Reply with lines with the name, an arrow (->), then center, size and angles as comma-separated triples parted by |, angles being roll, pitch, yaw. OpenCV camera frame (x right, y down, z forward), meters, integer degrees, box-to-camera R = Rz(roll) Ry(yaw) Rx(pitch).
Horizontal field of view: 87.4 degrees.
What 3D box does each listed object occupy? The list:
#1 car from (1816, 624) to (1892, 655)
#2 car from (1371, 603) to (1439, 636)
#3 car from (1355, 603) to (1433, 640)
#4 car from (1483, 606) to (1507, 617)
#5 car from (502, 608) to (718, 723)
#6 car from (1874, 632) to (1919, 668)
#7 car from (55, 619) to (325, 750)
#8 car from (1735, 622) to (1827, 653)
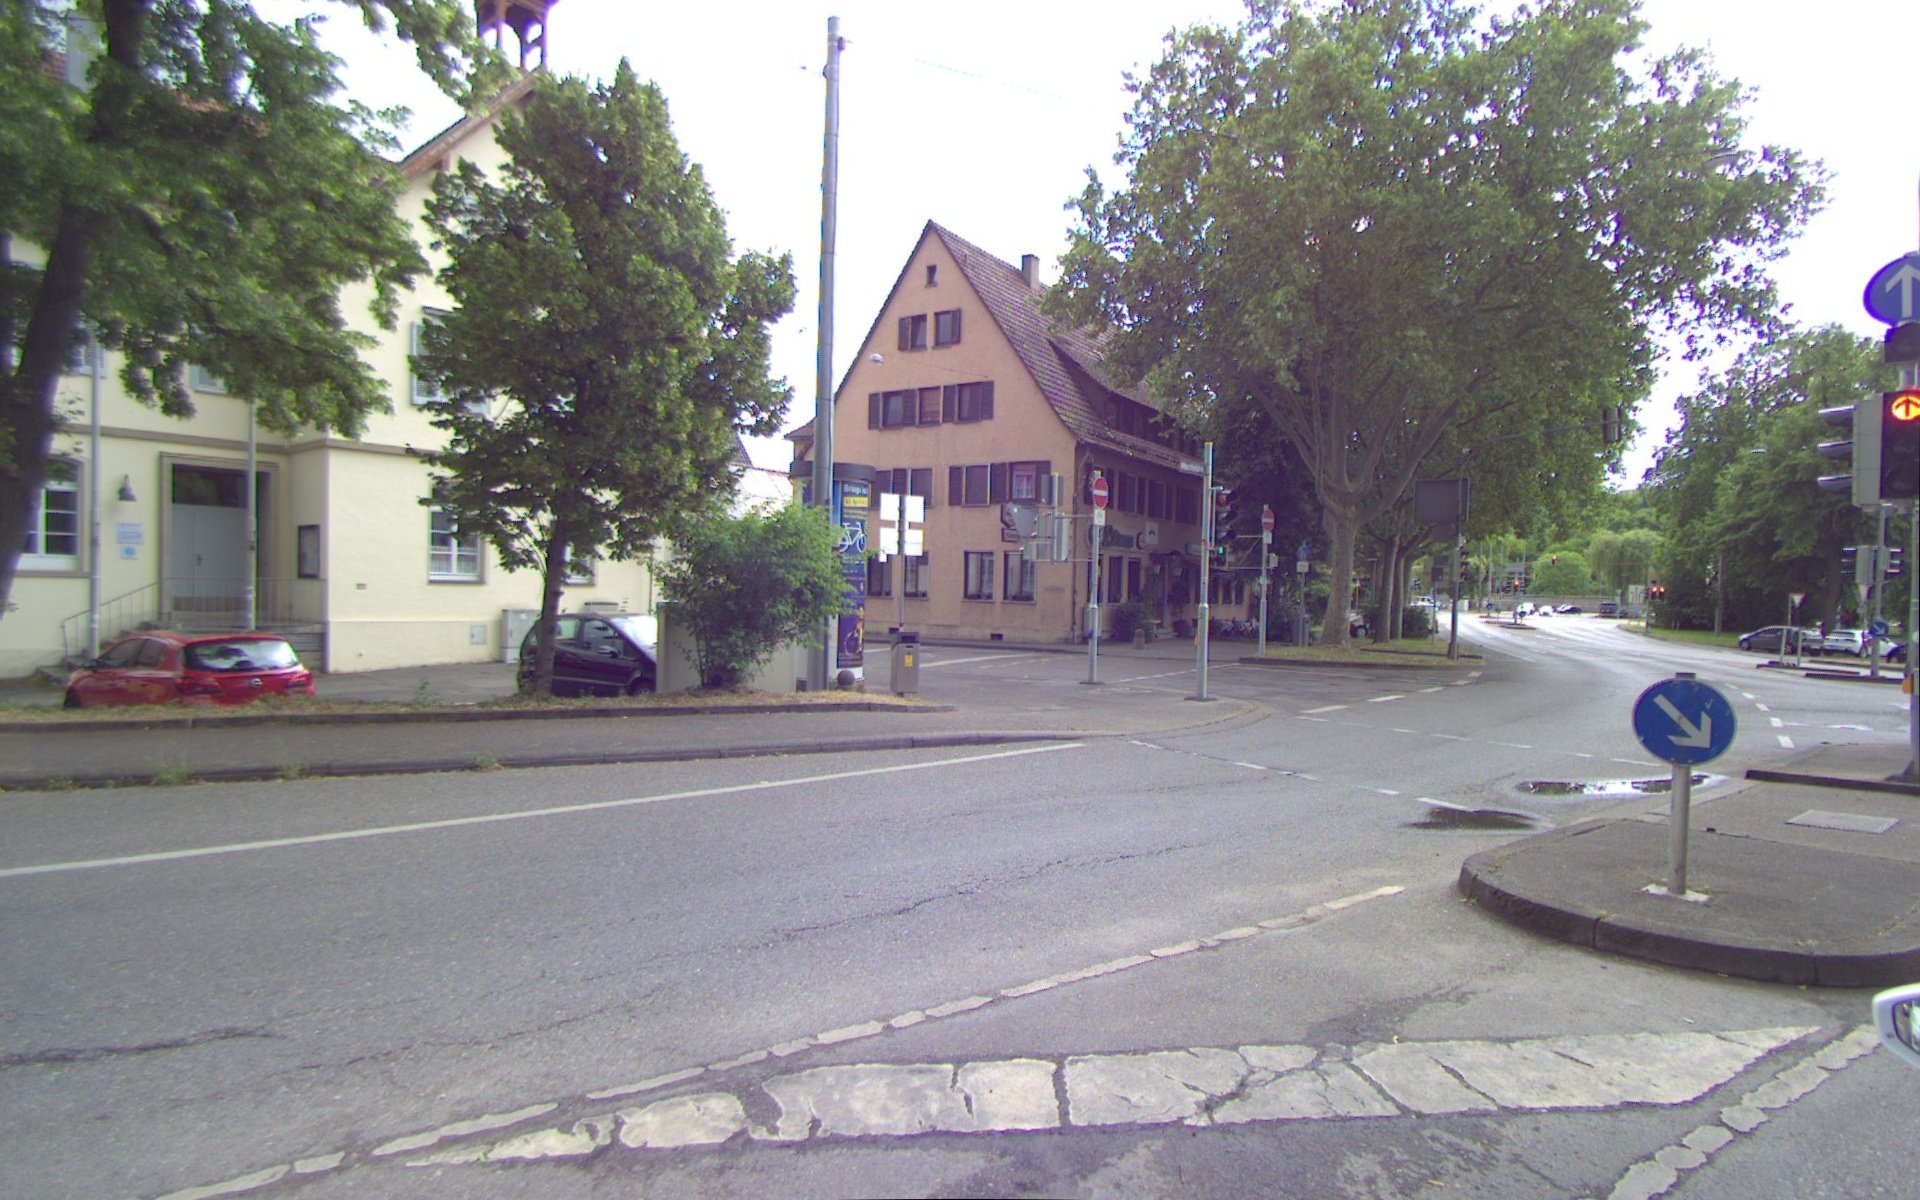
car -> 47.300, 2.083, 53.163 | 3.342, 1.484, 1.543 | 2, 0, -19
car -> 25.467, 1.086, 57.467 | 3.387, 1.765, 1.570 | 2, 0, 28
car -> 21.407, 1.047, 49.583 | 3.387, 1.663, 1.570 | 2, 0, 28
car -> 100.702, 2.130, 188.943 | 3.928, 2.040, 1.996 | 2, 0, 30
car -> -5.762, 1.005, 16.591 | 3.035, 1.654, 1.607 | 2, 0, 22
car -> 39.569, 2.078, 40.946 | 1.442, 1.412, 3.596 | 2, 0, 3
car -> -10.173, 1.012, 13.243 | 3.492, 1.397, 1.605 | 2, 0, 30
car -> 43.861, 1.969, 53.762 | 1.559, 1.484, 3.543 | 2, 0, -17
